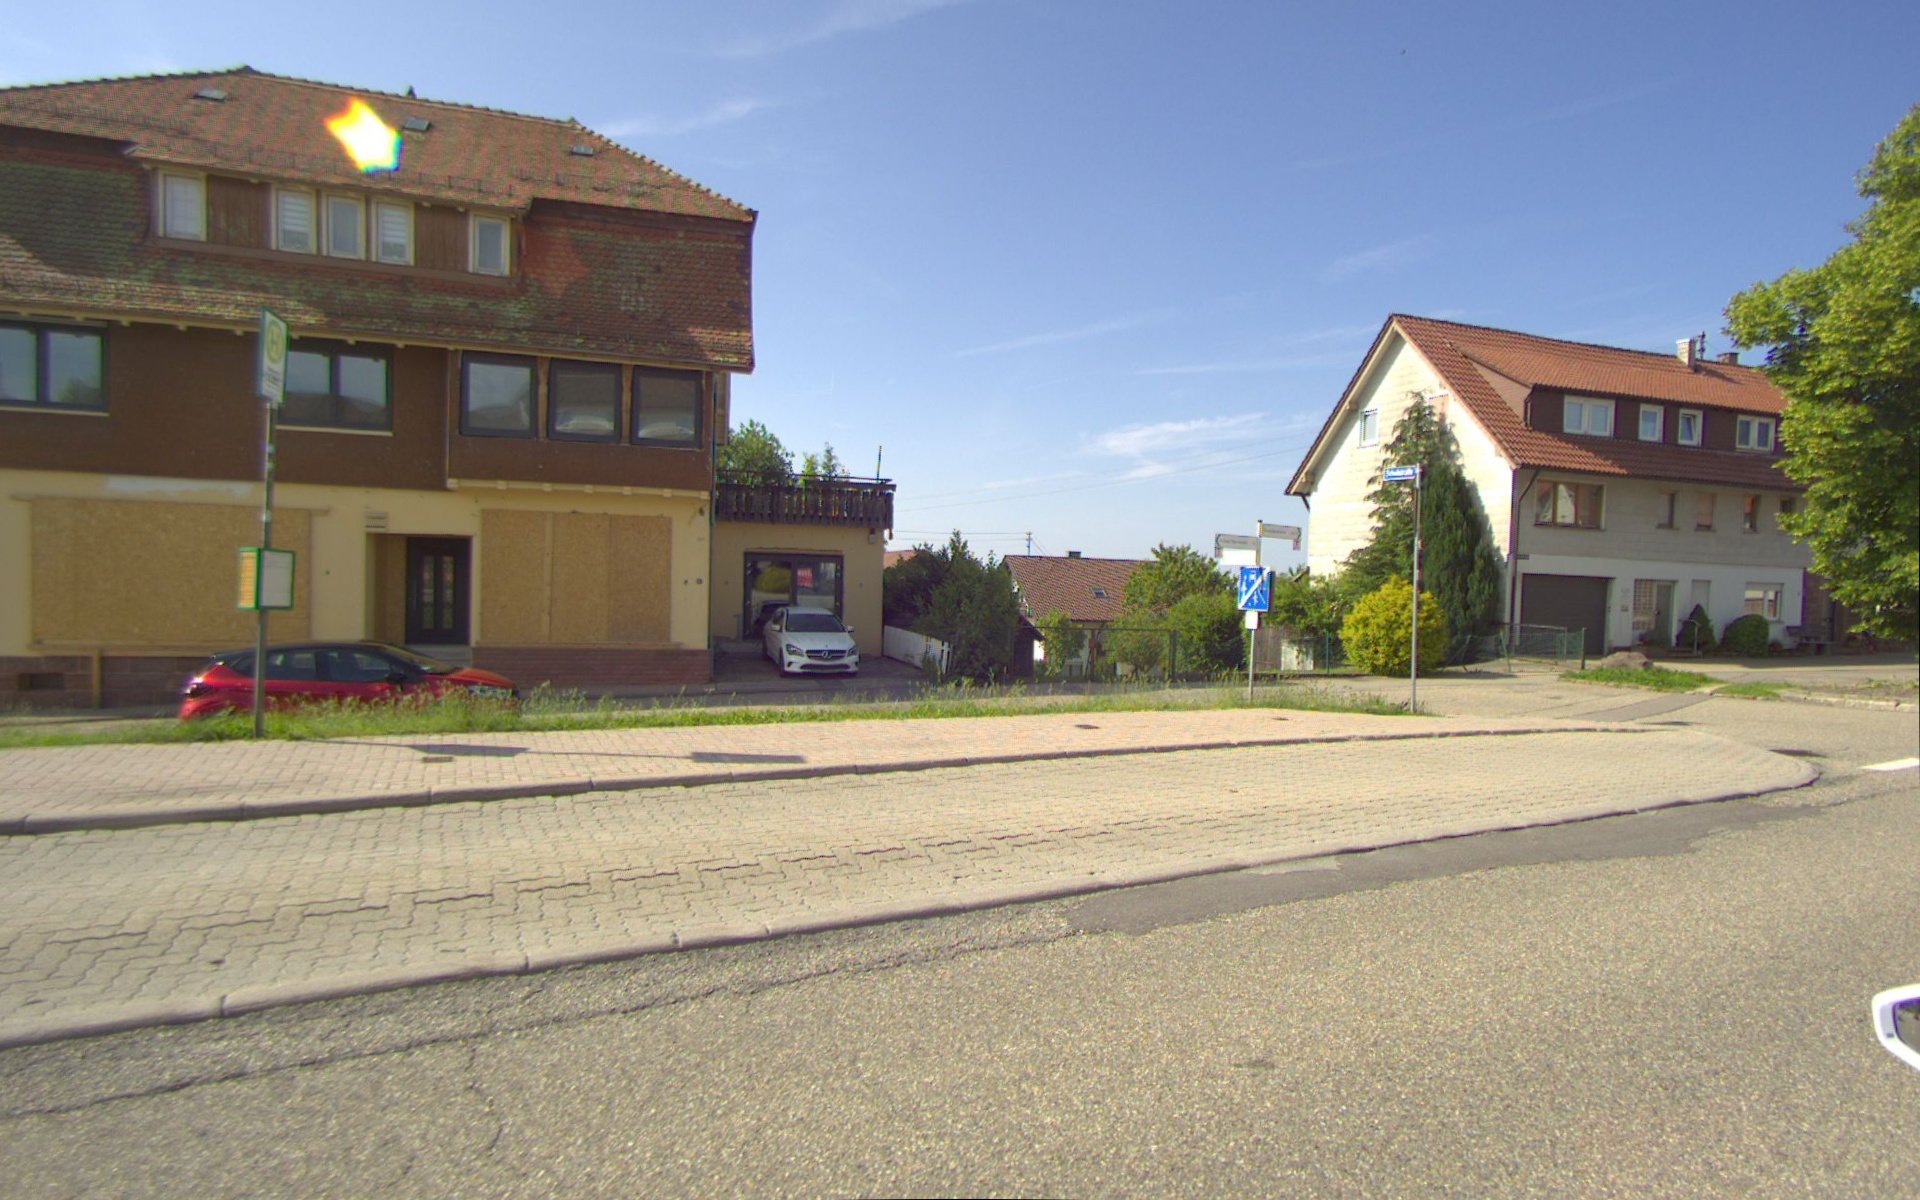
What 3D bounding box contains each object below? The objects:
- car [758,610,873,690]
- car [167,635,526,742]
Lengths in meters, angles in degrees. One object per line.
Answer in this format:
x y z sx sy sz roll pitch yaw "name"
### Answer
-3.543 1.125 24.007 1.773 1.531 4.294 3 1 -21 "car"
-8.322 1.173 14.034 3.935 1.314 1.720 1 -1 -17 "car"
